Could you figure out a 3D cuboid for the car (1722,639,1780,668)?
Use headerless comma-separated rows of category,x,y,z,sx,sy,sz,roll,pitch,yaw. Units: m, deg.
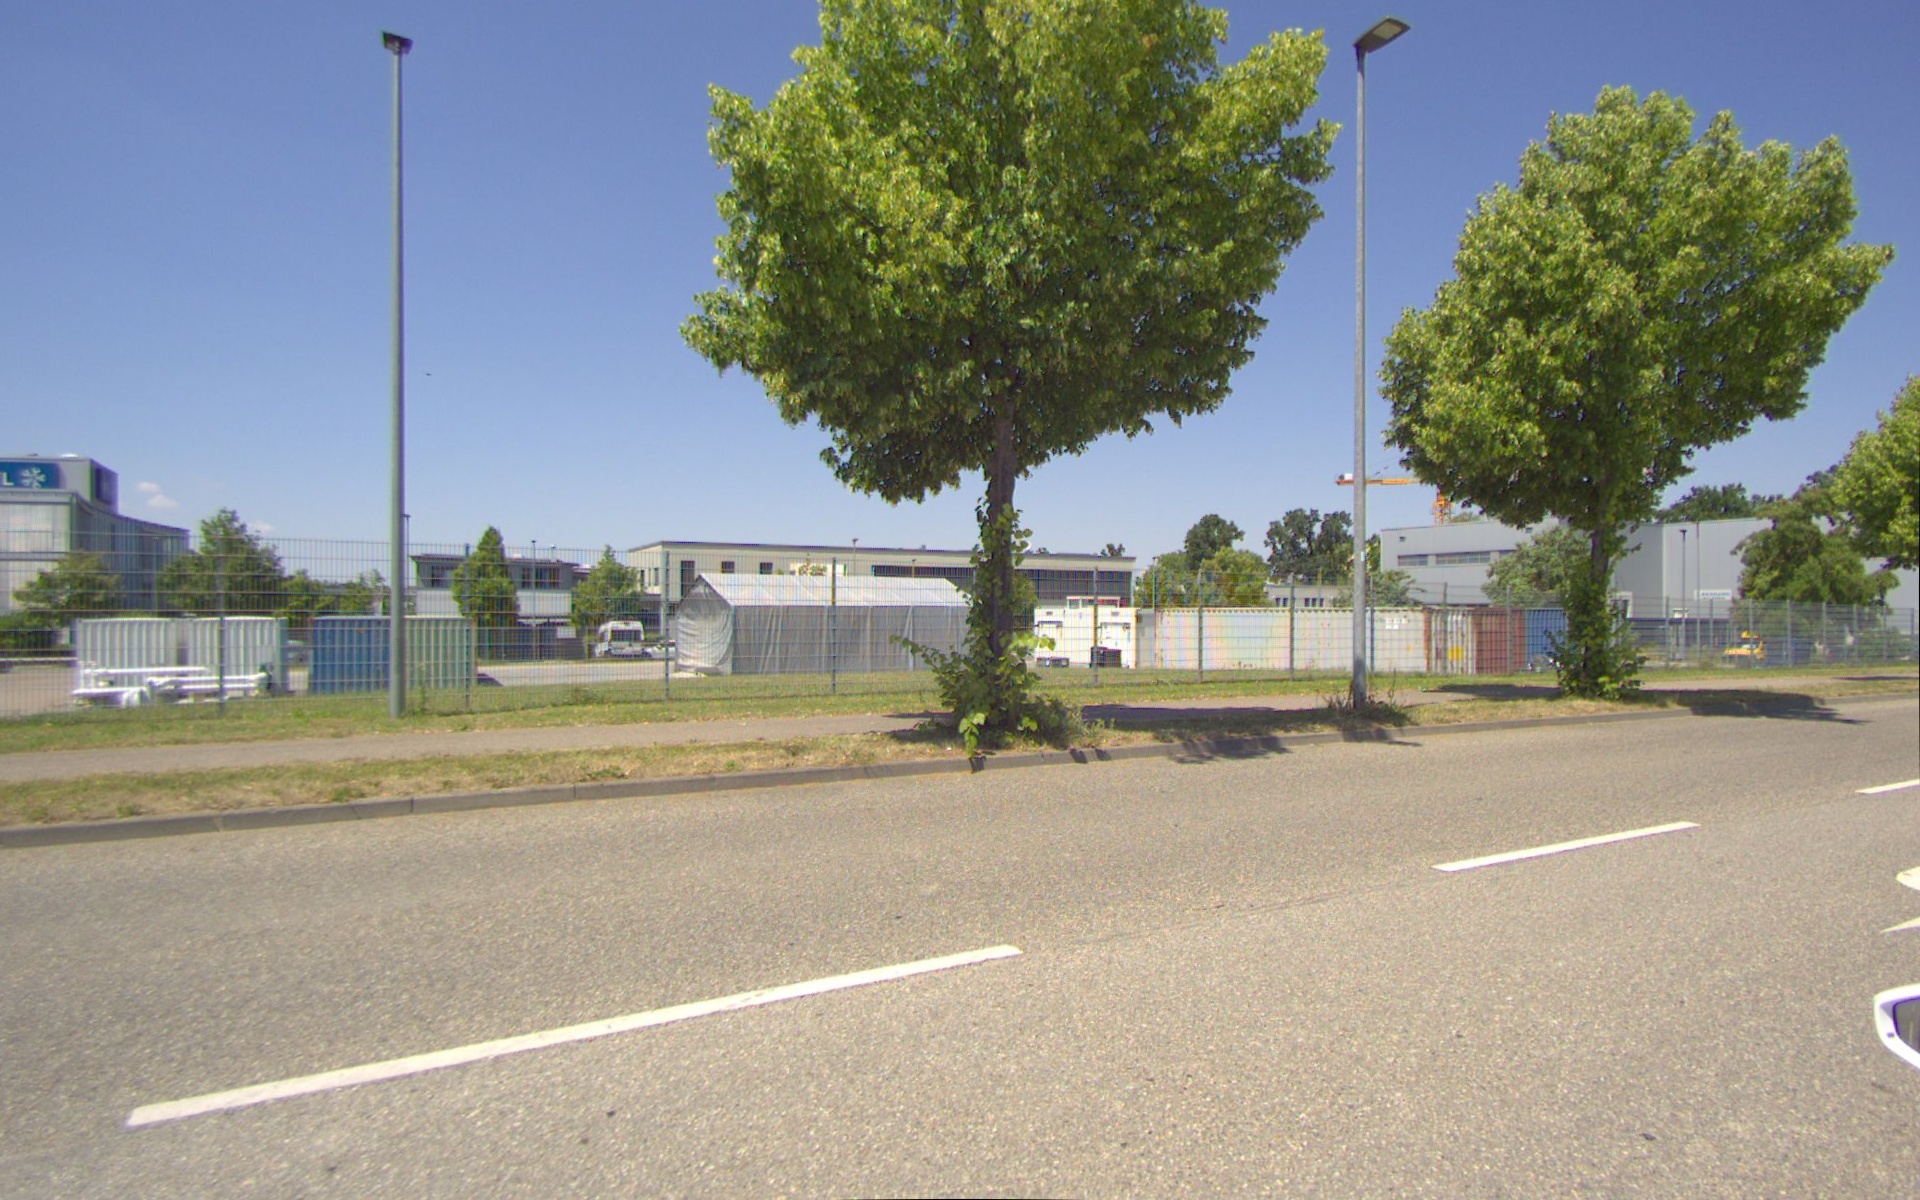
car,51.896,3.515,65.877,3.962,1.572,1.980,-3,0,-37

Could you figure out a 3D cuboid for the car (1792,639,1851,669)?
car,54.157,3.349,63.094,3.962,1.572,1.980,-3,0,-37

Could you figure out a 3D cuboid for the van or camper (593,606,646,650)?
van or camper,-19.766,1.631,58.219,1.976,2.374,4.266,-3,0,-30
